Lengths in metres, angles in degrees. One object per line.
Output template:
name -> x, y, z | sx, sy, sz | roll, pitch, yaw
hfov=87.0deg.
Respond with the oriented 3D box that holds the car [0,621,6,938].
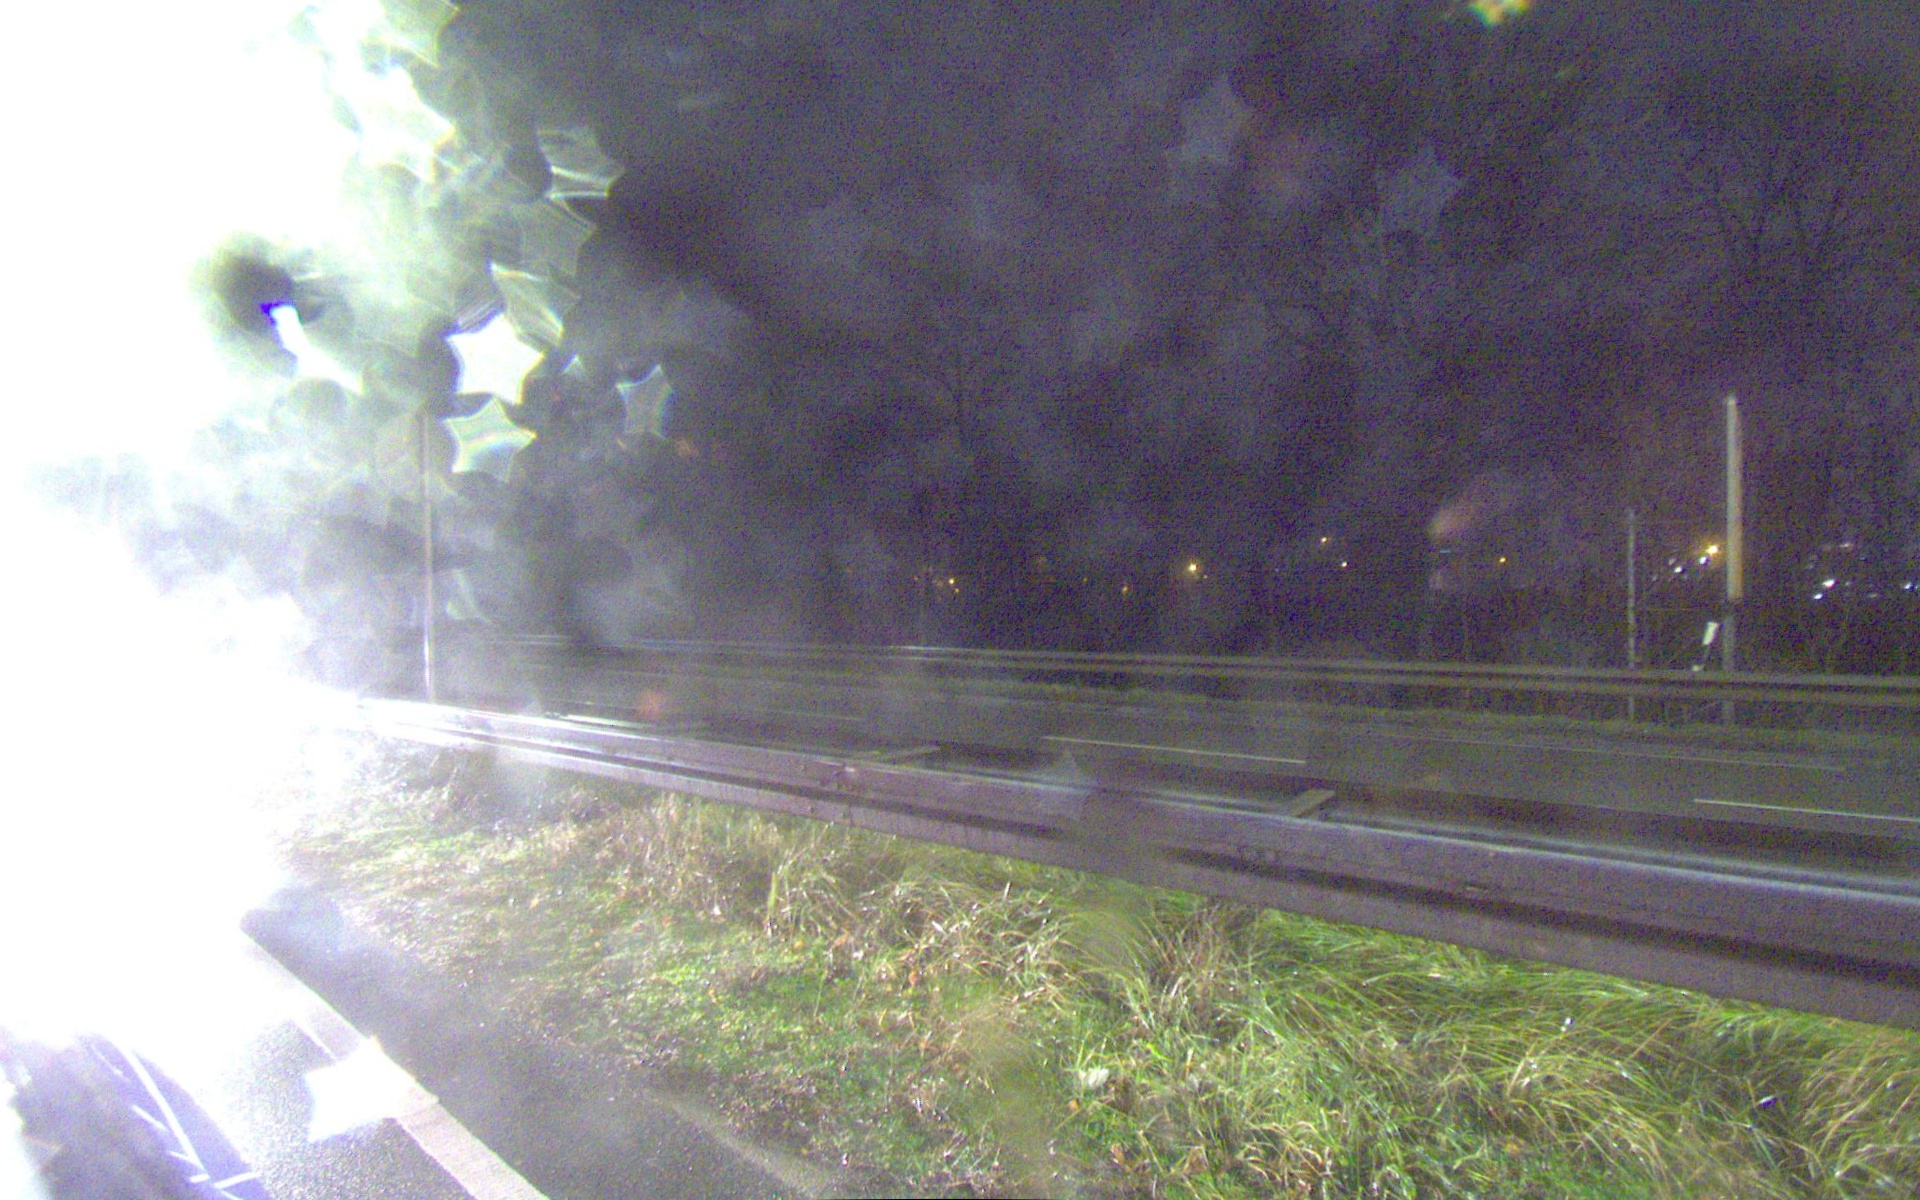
car -> -5.676, 0.817, 4.706 | 3.388, 1.435, 1.478 | -1, -2, 41
